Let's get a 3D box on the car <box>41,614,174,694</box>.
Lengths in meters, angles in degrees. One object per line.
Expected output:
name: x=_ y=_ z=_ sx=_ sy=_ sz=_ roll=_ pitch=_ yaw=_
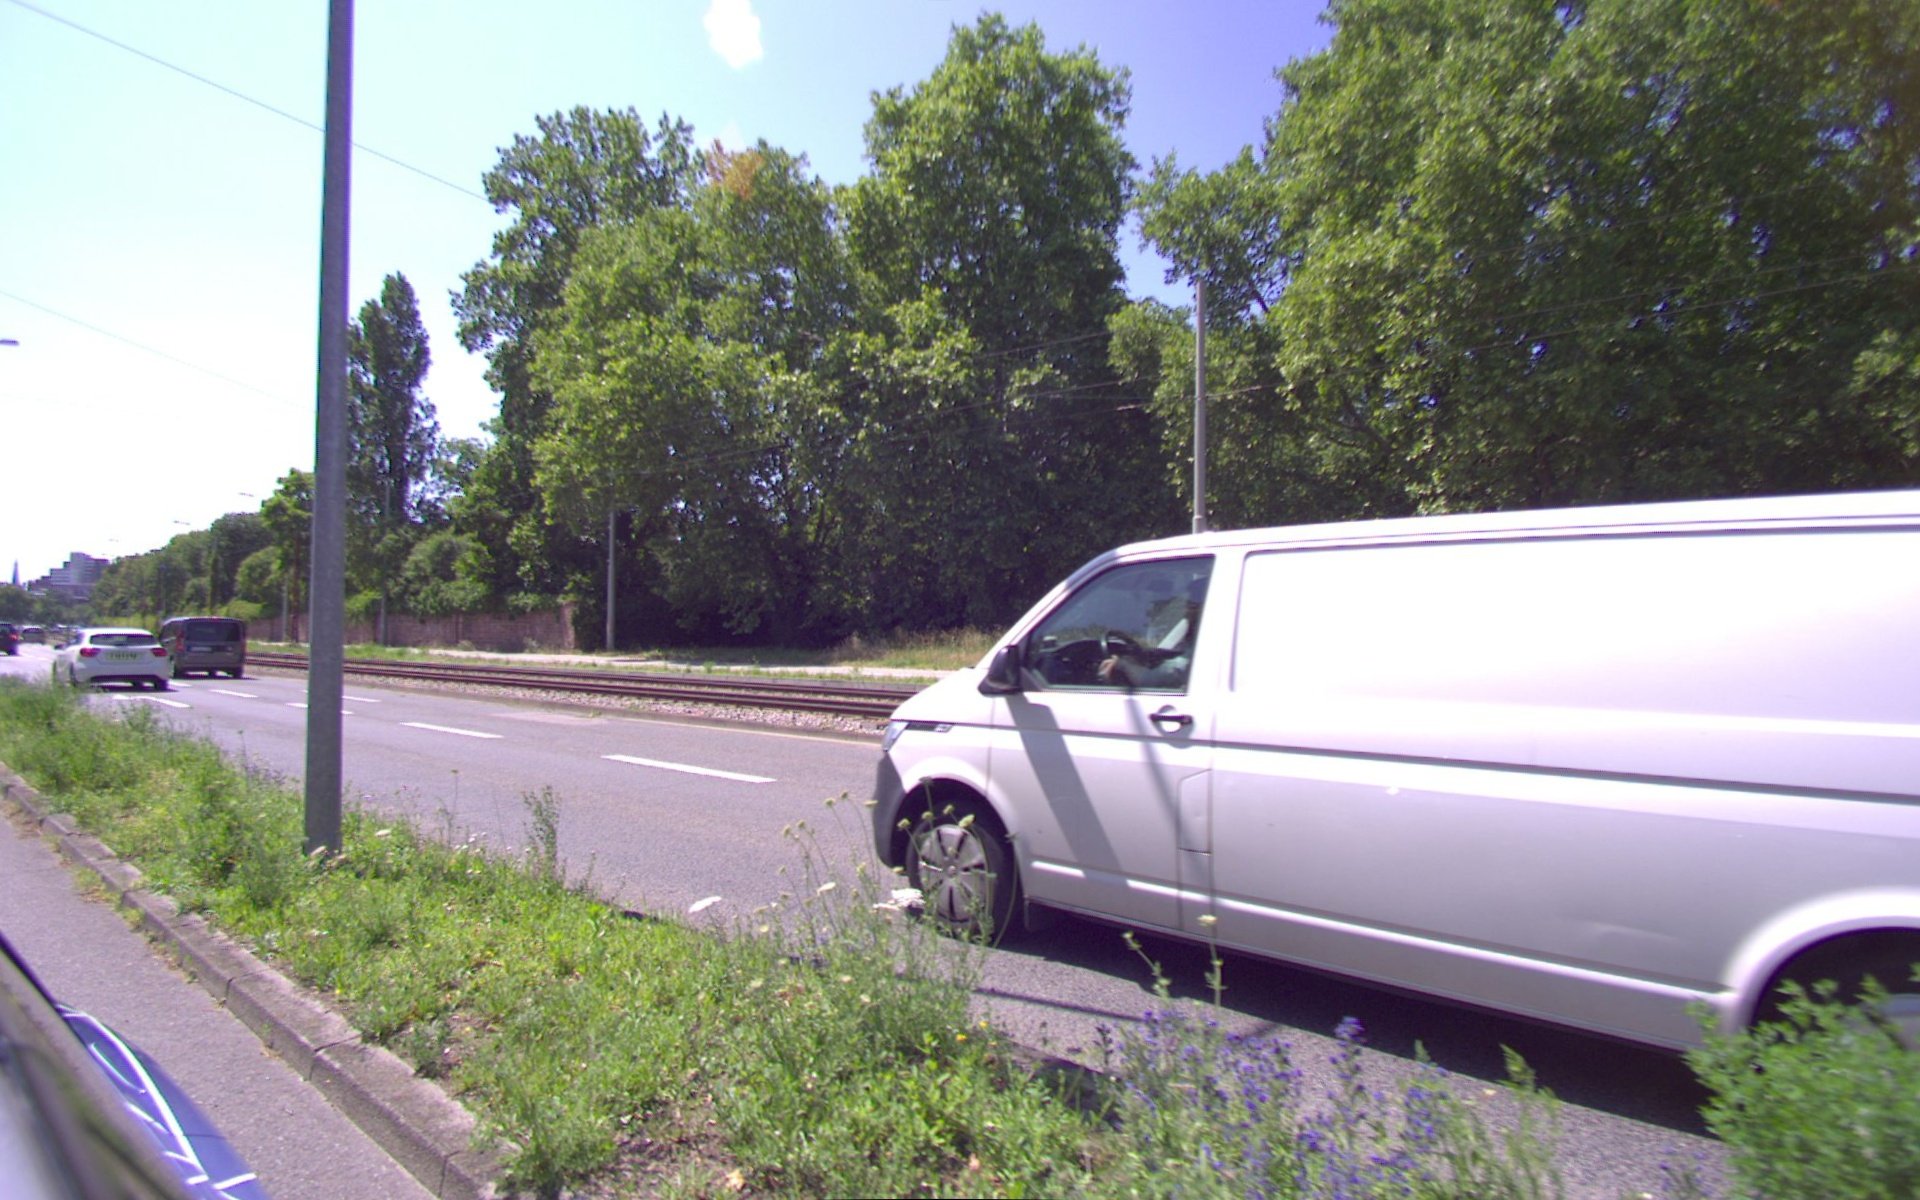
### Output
car: x=-20.457 y=1.273 z=24.235 sx=4.036 sy=1.752 sz=1.810 roll=-2 pitch=-4 yaw=41

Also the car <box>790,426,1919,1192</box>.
car: x=1.768 y=0.589 z=4.341 sx=5.564 sy=1.921 sz=1.810 roll=-2 pitch=-4 yaw=41

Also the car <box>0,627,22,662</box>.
car: x=-49.903 y=2.266 z=52.185 sx=4.792 sy=1.726 sz=1.809 roll=-2 pitch=-4 yaw=42

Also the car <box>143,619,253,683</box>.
car: x=-23.526 y=1.543 z=31.167 sx=4.613 sy=1.815 sz=1.810 roll=-2 pitch=-4 yaw=42
